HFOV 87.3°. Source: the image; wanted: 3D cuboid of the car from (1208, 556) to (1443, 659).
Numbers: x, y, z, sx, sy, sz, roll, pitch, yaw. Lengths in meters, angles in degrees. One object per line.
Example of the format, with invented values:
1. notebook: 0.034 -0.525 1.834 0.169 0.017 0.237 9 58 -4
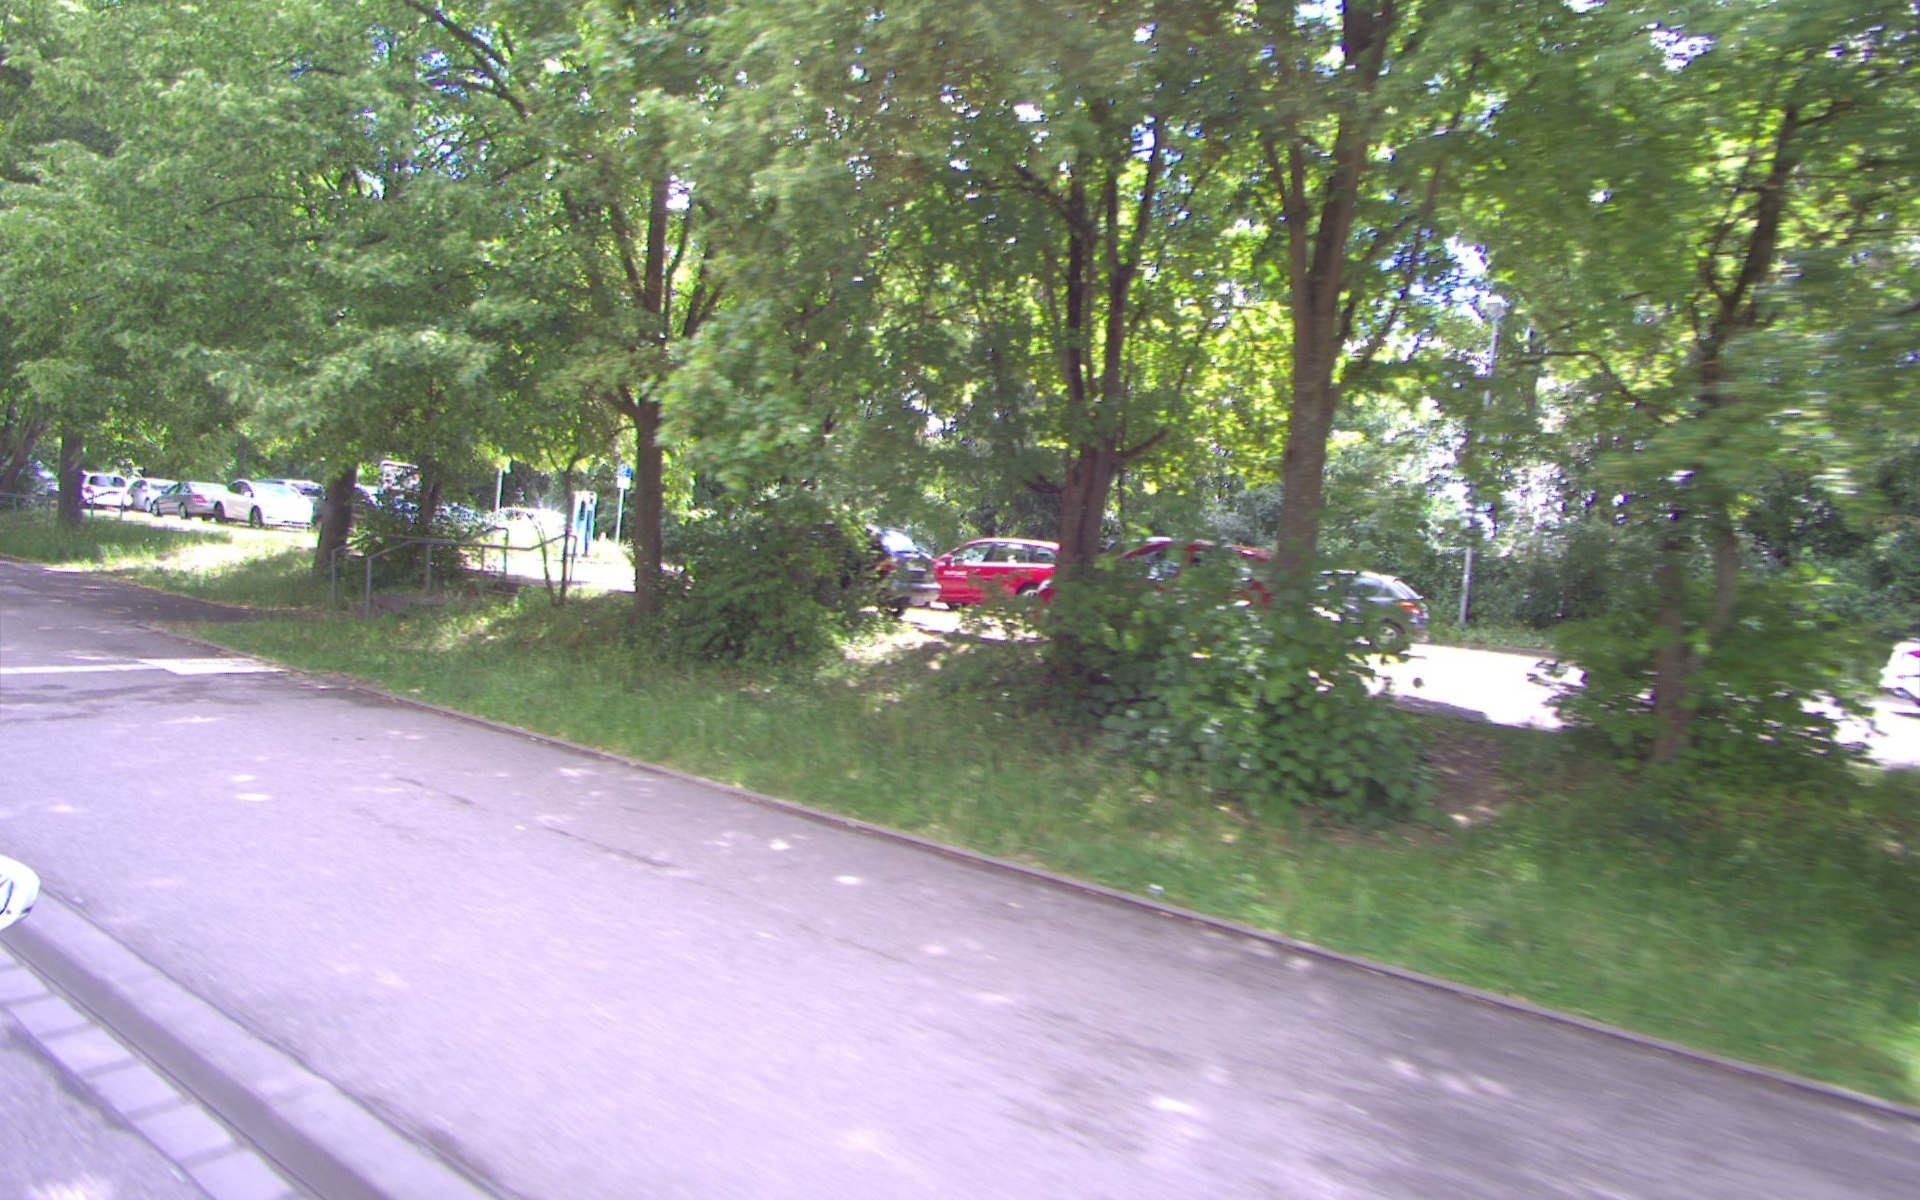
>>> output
1. car: 6.835 0.101 18.886 3.794 1.462 1.755 7 3 29

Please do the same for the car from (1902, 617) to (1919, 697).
1. car: 19.569 1.242 17.735 3.916 1.489 1.636 6 3 31

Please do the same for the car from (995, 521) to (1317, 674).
1. car: 2.474 -0.081 12.913 3.602 1.521 1.661 6 3 32

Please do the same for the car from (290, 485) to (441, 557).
1. car: -16.099 -2.144 27.194 4.191 1.717 1.687 4 3 31

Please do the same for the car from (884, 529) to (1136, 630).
1. car: 0.912 -0.421 19.378 4.469 1.498 1.752 6 3 32

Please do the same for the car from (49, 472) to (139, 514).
1. car: -37.524 -4.630 43.585 4.056 1.439 1.841 6 2 32

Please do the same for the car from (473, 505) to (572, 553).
1. car: -13.558 -2.200 31.177 2.812 1.321 1.407 4 3 31

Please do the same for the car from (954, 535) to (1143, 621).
1. car: 1.882 -0.481 21.645 3.602 1.498 1.631 6 3 32

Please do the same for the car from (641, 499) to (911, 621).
1. car: -2.948 -0.661 15.825 4.070 1.535 1.626 6 4 32

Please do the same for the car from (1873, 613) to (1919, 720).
1. car: 14.955 1.010 13.350 3.863 1.439 1.615 4 2 32

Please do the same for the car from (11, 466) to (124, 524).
1. car: -33.269 -3.908 37.470 4.646 1.682 1.849 6 0 32

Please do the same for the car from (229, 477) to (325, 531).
1. car: -27.140 -3.834 39.938 4.138 1.815 1.612 6 4 32

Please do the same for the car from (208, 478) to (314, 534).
1. car: -24.029 -3.252 34.532 4.360 1.577 1.468 7 4 34

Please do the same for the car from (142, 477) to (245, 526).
1. car: -28.320 -3.636 37.133 4.281 1.462 1.612 6 3 32
